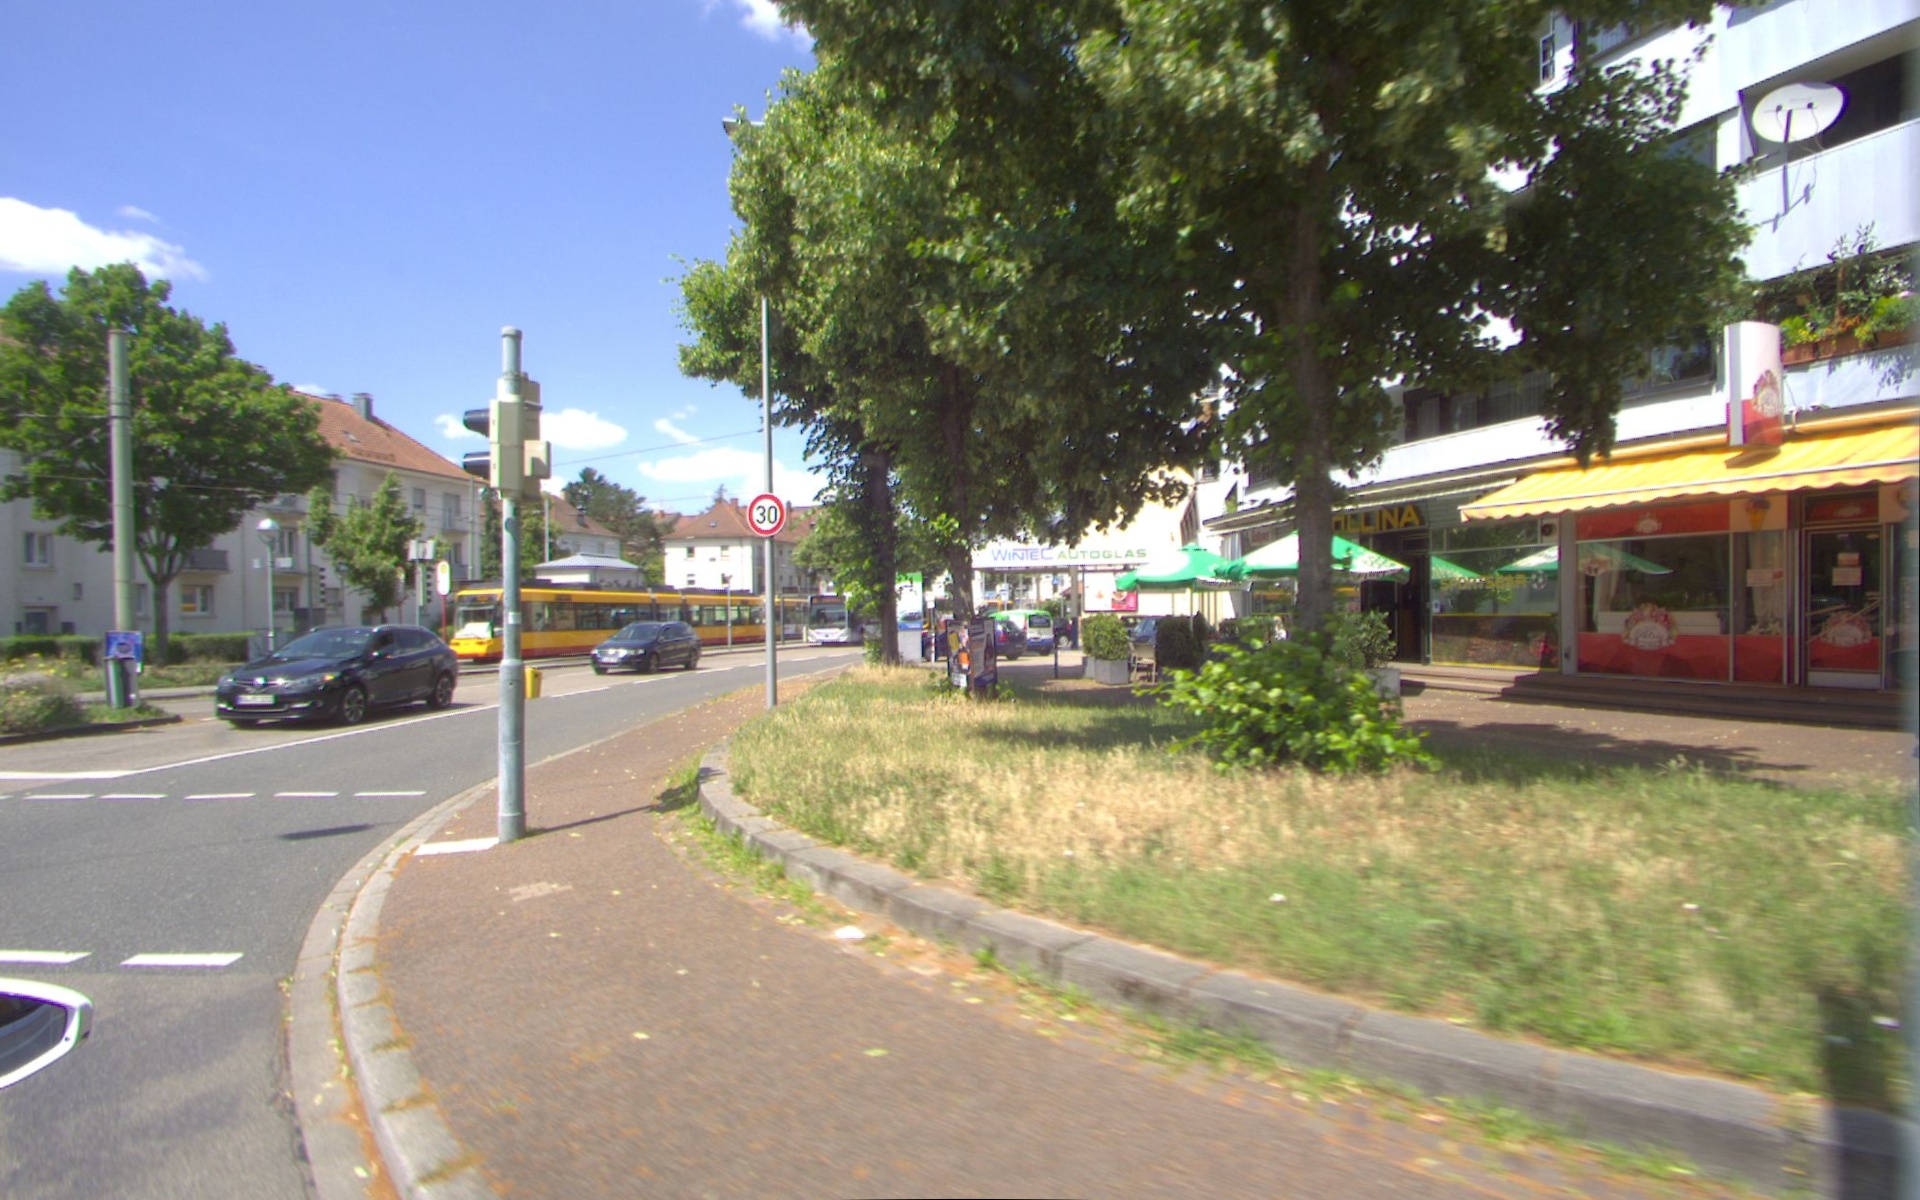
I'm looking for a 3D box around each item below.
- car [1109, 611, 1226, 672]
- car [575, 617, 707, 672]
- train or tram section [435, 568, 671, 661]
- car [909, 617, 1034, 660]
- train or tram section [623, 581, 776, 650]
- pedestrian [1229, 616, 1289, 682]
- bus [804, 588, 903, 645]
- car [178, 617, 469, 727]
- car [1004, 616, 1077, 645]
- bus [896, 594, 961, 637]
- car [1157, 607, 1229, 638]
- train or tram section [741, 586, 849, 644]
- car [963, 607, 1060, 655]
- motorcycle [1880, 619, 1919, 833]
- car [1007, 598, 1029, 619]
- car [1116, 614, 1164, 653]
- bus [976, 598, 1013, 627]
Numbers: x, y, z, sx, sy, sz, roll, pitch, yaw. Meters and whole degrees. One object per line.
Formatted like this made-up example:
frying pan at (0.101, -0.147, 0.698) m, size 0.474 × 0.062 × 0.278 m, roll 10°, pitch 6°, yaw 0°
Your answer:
car at (5.349, 1.071, 26.416) m, size 1.675 × 1.447 × 4.363 m, roll 0°, pitch -2°, yaw -8°
car at (-9.464, 1.284, 30.100) m, size 1.962 × 1.539 × 4.511 m, roll 0°, pitch -1°, yaw 9°
train or tram section at (-17.958, 0.716, 46.121) m, size 2.765 × 3.614 × 14.174 m, roll 0°, pitch -1°, yaw 11°
car at (0.392, 1.360, 35.605) m, size 4.115 × 1.458 × 1.891 m, roll -2°, pitch -1°, yaw 34°
train or tram section at (-15.160, 0.955, 60.263) m, size 2.741 × 3.614 × 14.698 m, roll 0°, pitch -1°, yaw 11°
pedestrian at (6.155, 1.003, 20.656) m, size 0.800 × 1.322 × 1.016 m, roll 0°, pitch -1°, yaw -12°
bus at (-6.343, 1.037, 62.064) m, size 2.687 × 3.169 × 12.003 m, roll 0°, pitch -1°, yaw 11°
car at (-9.985, 1.050, 16.211) m, size 1.961 × 1.519 × 4.426 m, roll 0°, pitch -1°, yaw -1°
car at (4.451, 1.679, 55.653) m, size 3.865 × 1.538 × 1.823 m, roll -1°, pitch -1°, yaw -1°
bus at (-2.397, 1.257, 81.032) m, size 2.687 × 3.169 × 12.003 m, roll 0°, pitch -1°, yaw 11°
car at (14.630, 1.410, 62.986) m, size 4.235 × 1.834 × 1.999 m, roll 0°, pitch 1°, yaw 8°
train or tram section at (-12.133, 1.139, 76.010) m, size 2.741 × 3.945 × 15.544 m, roll 0°, pitch -1°, yaw 11°
car at (2.057, 1.263, 40.915) m, size 1.820 × 1.817 × 3.996 m, roll 0°, pitch -1°, yaw -37°
motorcycle at (6.872, 0.777, 5.748) m, size 0.907 × 1.329 × 2.211 m, roll 1°, pitch -2°, yaw -34°
car at (5.767, 0.859, 99.557) m, size 1.779 × 2.007 × 3.999 m, roll 0°, pitch -1°, yaw 9°
car at (7.816, 1.429, 43.617) m, size 1.976 × 1.616 × 4.288 m, roll 0°, pitch -1°, yaw 10°
bus at (4.088, 1.473, 116.253) m, size 2.687 × 3.260 × 11.044 m, roll 0°, pitch -1°, yaw 11°
